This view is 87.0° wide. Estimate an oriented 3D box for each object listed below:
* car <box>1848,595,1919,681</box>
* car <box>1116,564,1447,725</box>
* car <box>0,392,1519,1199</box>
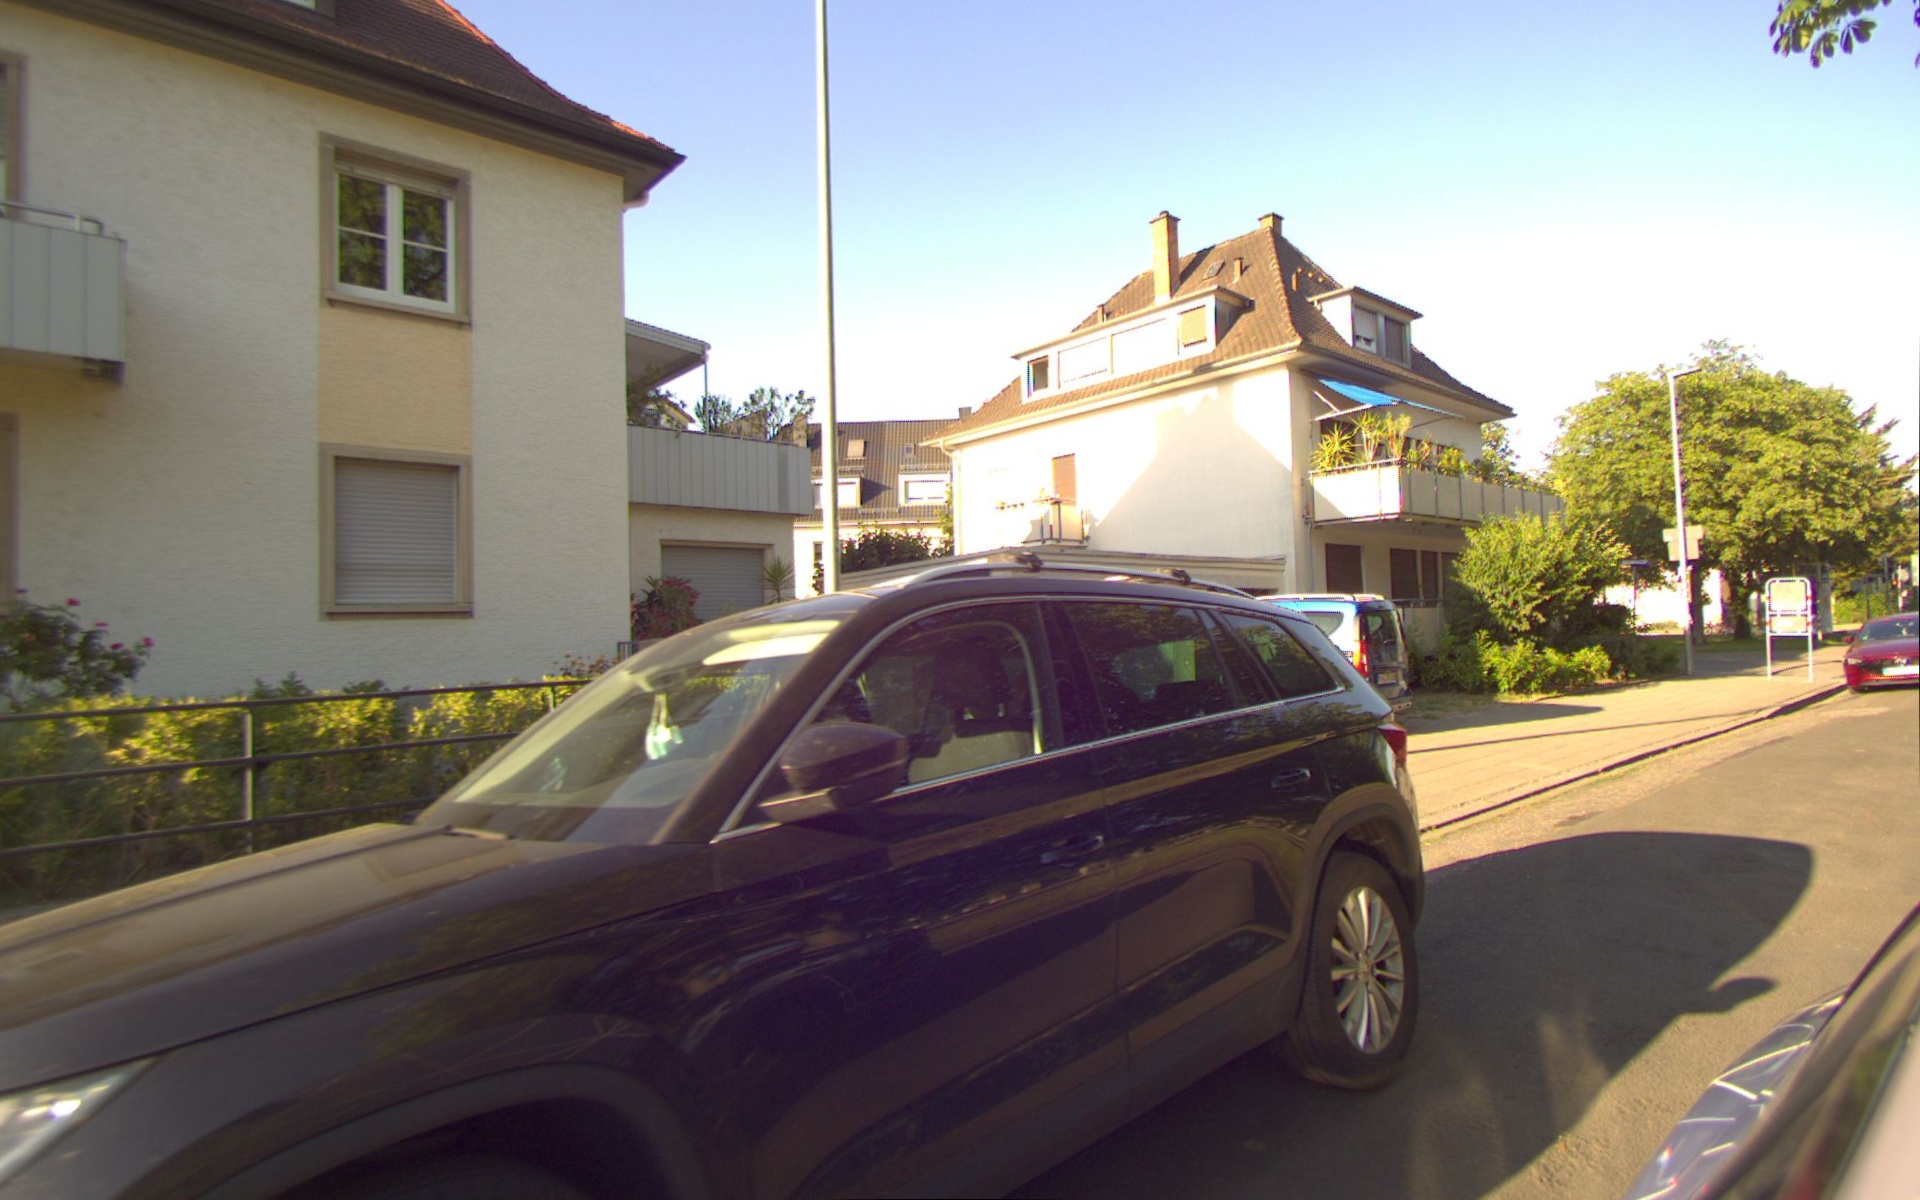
[{"bbox_3d":[18.913,0.673,19.747,4.152,1.514,1.822,-1,-2,-42],"label":"car"},{"bbox_3d":[4.466,0.638,14.461,1.967,1.953,3.988,0,-3,-44],"label":"car"},{"bbox_3d":[-0.331,0.746,2.867,4.392,1.743,1.858,-1,-8,-43],"label":"car"}]
